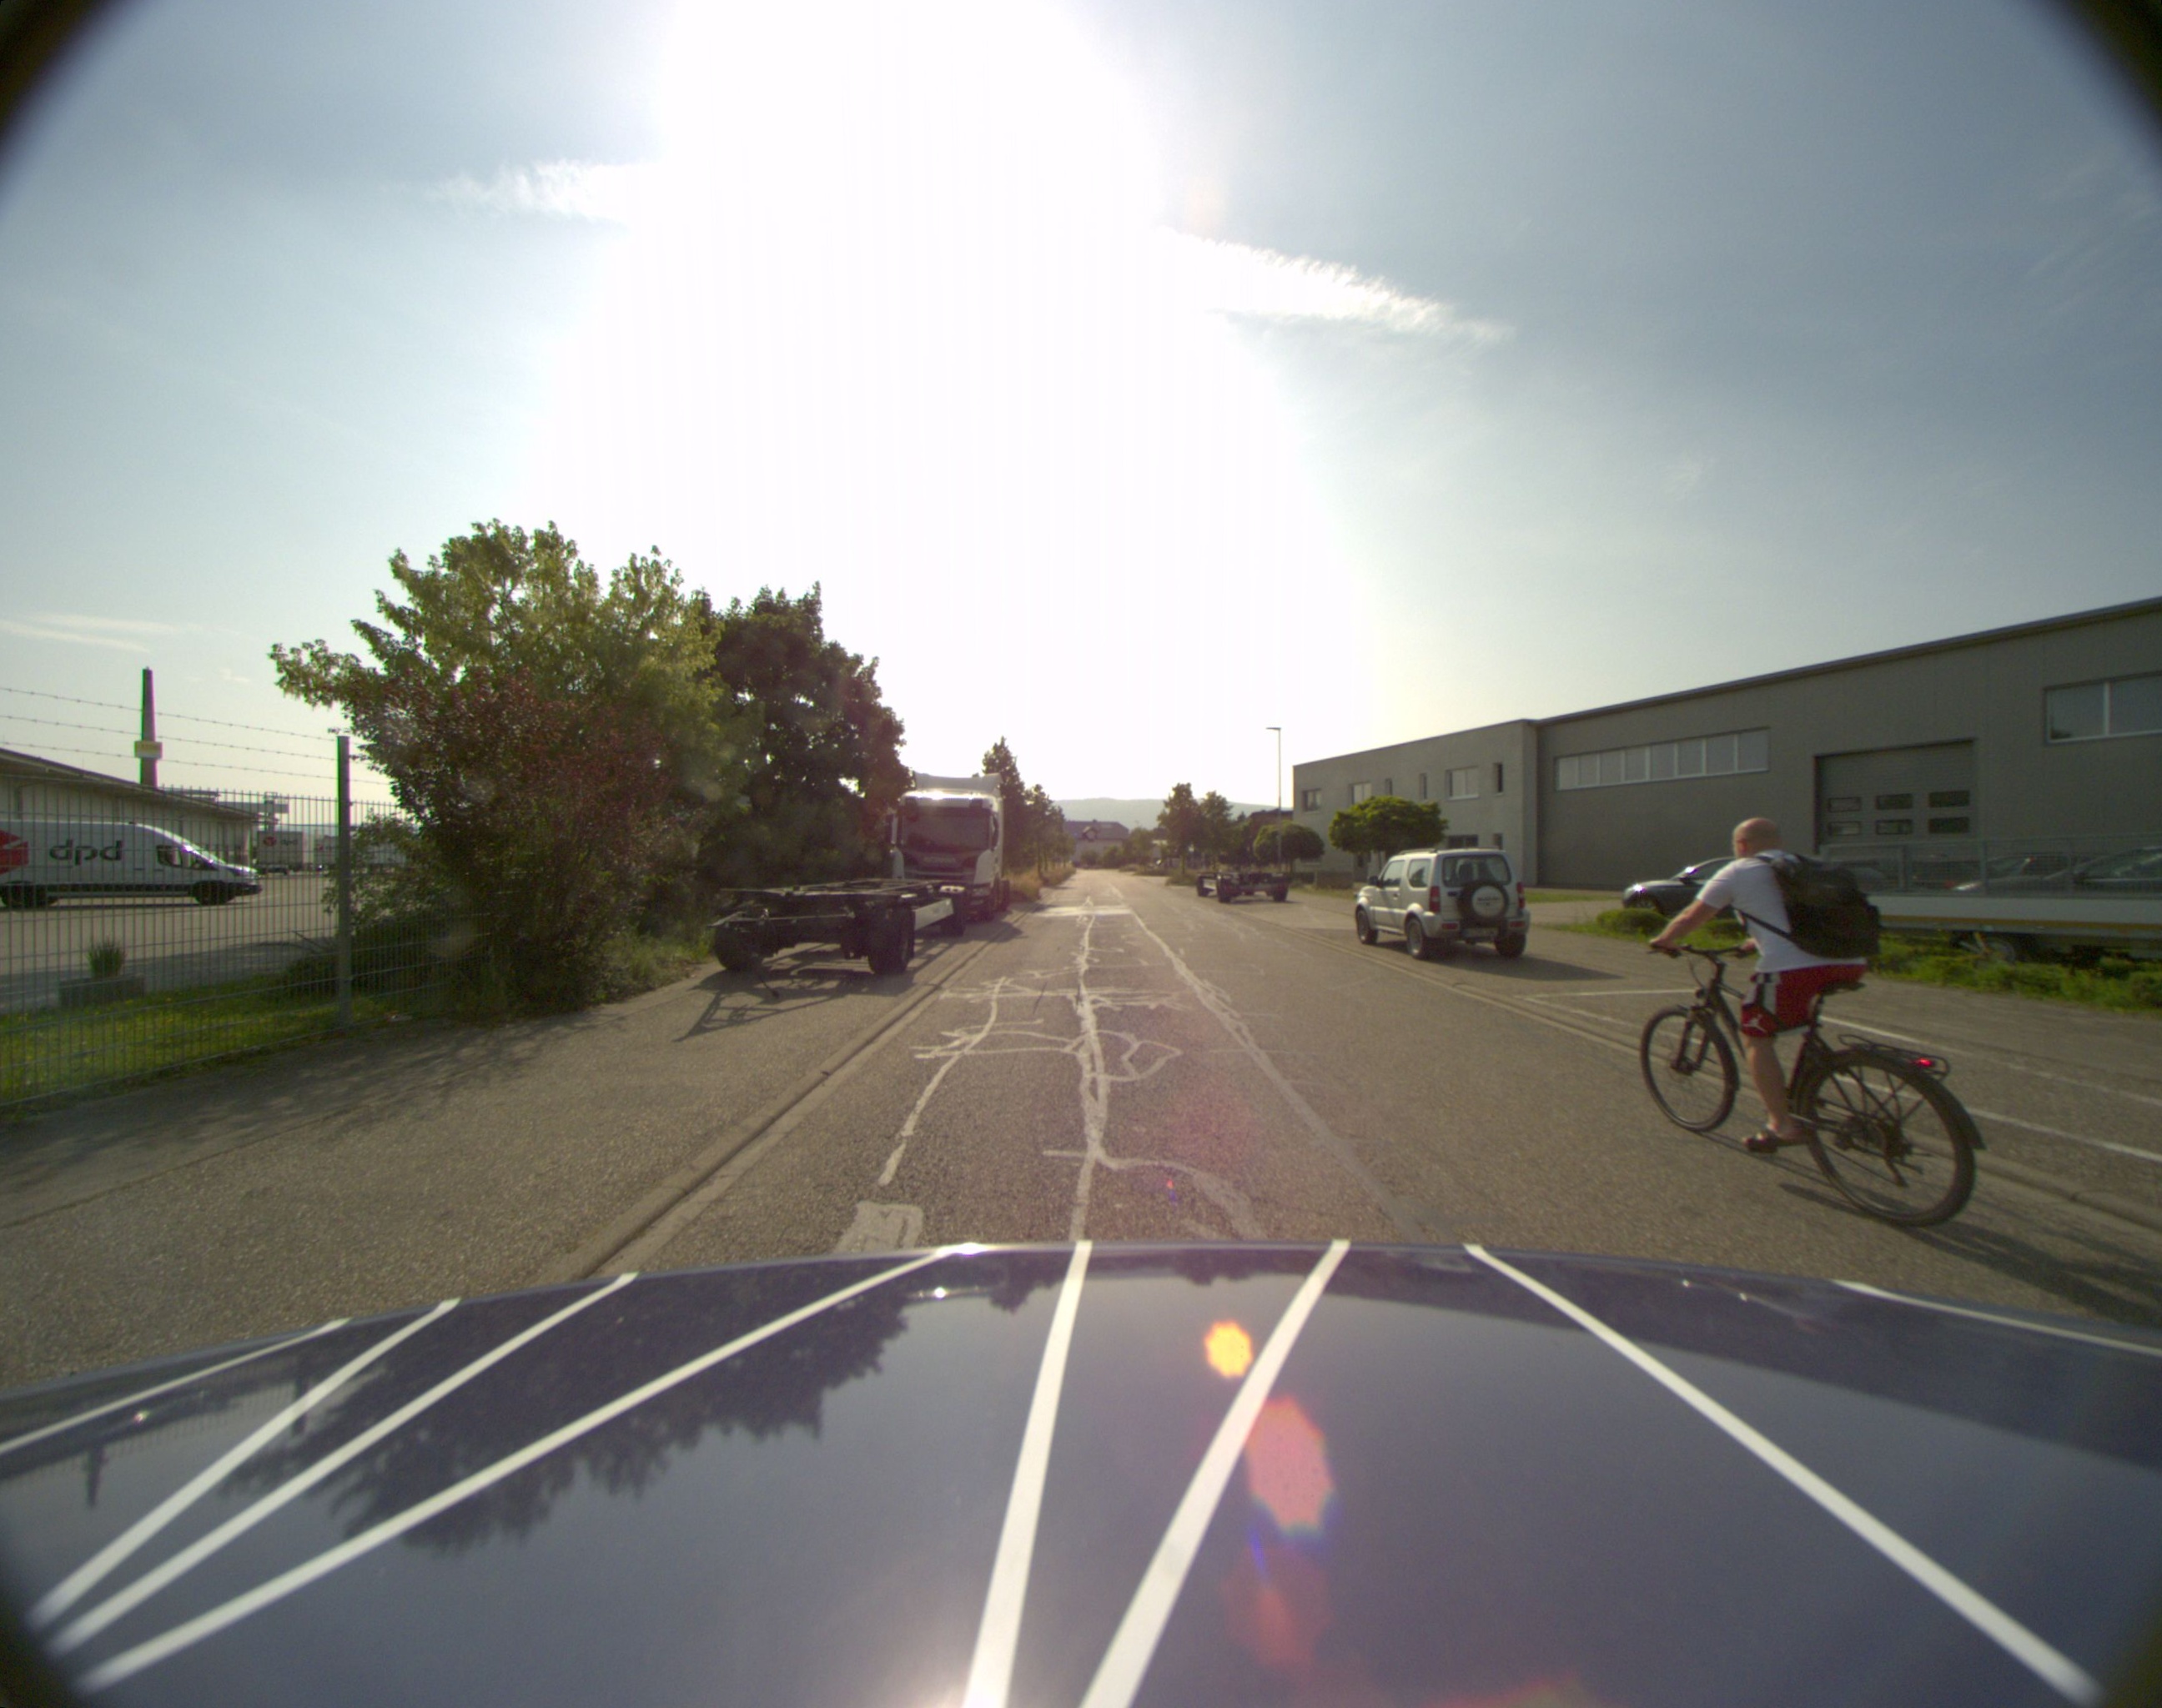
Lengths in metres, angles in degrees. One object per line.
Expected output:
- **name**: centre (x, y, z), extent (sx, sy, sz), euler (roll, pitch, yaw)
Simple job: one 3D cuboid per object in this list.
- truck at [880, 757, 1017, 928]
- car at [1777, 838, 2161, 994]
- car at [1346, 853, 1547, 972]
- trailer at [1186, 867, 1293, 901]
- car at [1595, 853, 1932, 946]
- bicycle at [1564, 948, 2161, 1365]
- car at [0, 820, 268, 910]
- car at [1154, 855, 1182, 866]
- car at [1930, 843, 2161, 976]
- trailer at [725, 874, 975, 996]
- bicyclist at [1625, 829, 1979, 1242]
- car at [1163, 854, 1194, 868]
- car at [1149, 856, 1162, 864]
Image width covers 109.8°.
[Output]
- **truck**: centre (-3.374, -0.269, 20.960), extent (2.699, 3.941, 6.047), euler (2, 0, -1)
- **car**: centre (11.534, 0.634, 9.456), extent (1.840, 1.562, 3.811), euler (-2, 0, -16)
- **car**: centre (5.820, 0.842, 12.604), extent (1.601, 1.641, 3.644), euler (-1, 0, 1)
- **trailer**: centre (6.337, 1.146, 32.008), extent (2.552, 1.068, 9.732), euler (-2, 0, 1)
- **car**: centre (12.695, 0.741, 14.579), extent (1.983, 1.468, 4.415), euler (-1, 0, -17)
- **bicycle**: centre (3.408, 1.161, 3.674), extent (0.717, 1.115, 2.219), euler (2, 0, 1)
- **car**: centre (-30.923, 0.323, 24.447), extent (6.286, 2.633, 2.206), euler (0, 0, -40)
- **car**: centre (14.267, 1.019, 124.906), extent (4.004, 1.783, 1.996), euler (0, 0, -21)
- **car**: centre (14.375, 0.677, 9.611), extent (1.997, 1.648, 4.415), euler (-1, 0, -17)
- **trailer**: centre (-3.281, 1.069, 12.794), extent (1.943, 1.228, 7.451), euler (1, 0, 0)
- **bicyclist**: centre (3.400, 0.755, 3.729), extent (0.641, 1.709, 1.165), euler (0, 0, 1)
- **car**: centre (13.089, 0.935, 101.952), extent (3.996, 1.718, 2.000), euler (0, 0, 1)
- **car**: centre (13.169, 1.052, 133.832), extent (1.615, 1.472, 3.549), euler (0, 0, -6)
